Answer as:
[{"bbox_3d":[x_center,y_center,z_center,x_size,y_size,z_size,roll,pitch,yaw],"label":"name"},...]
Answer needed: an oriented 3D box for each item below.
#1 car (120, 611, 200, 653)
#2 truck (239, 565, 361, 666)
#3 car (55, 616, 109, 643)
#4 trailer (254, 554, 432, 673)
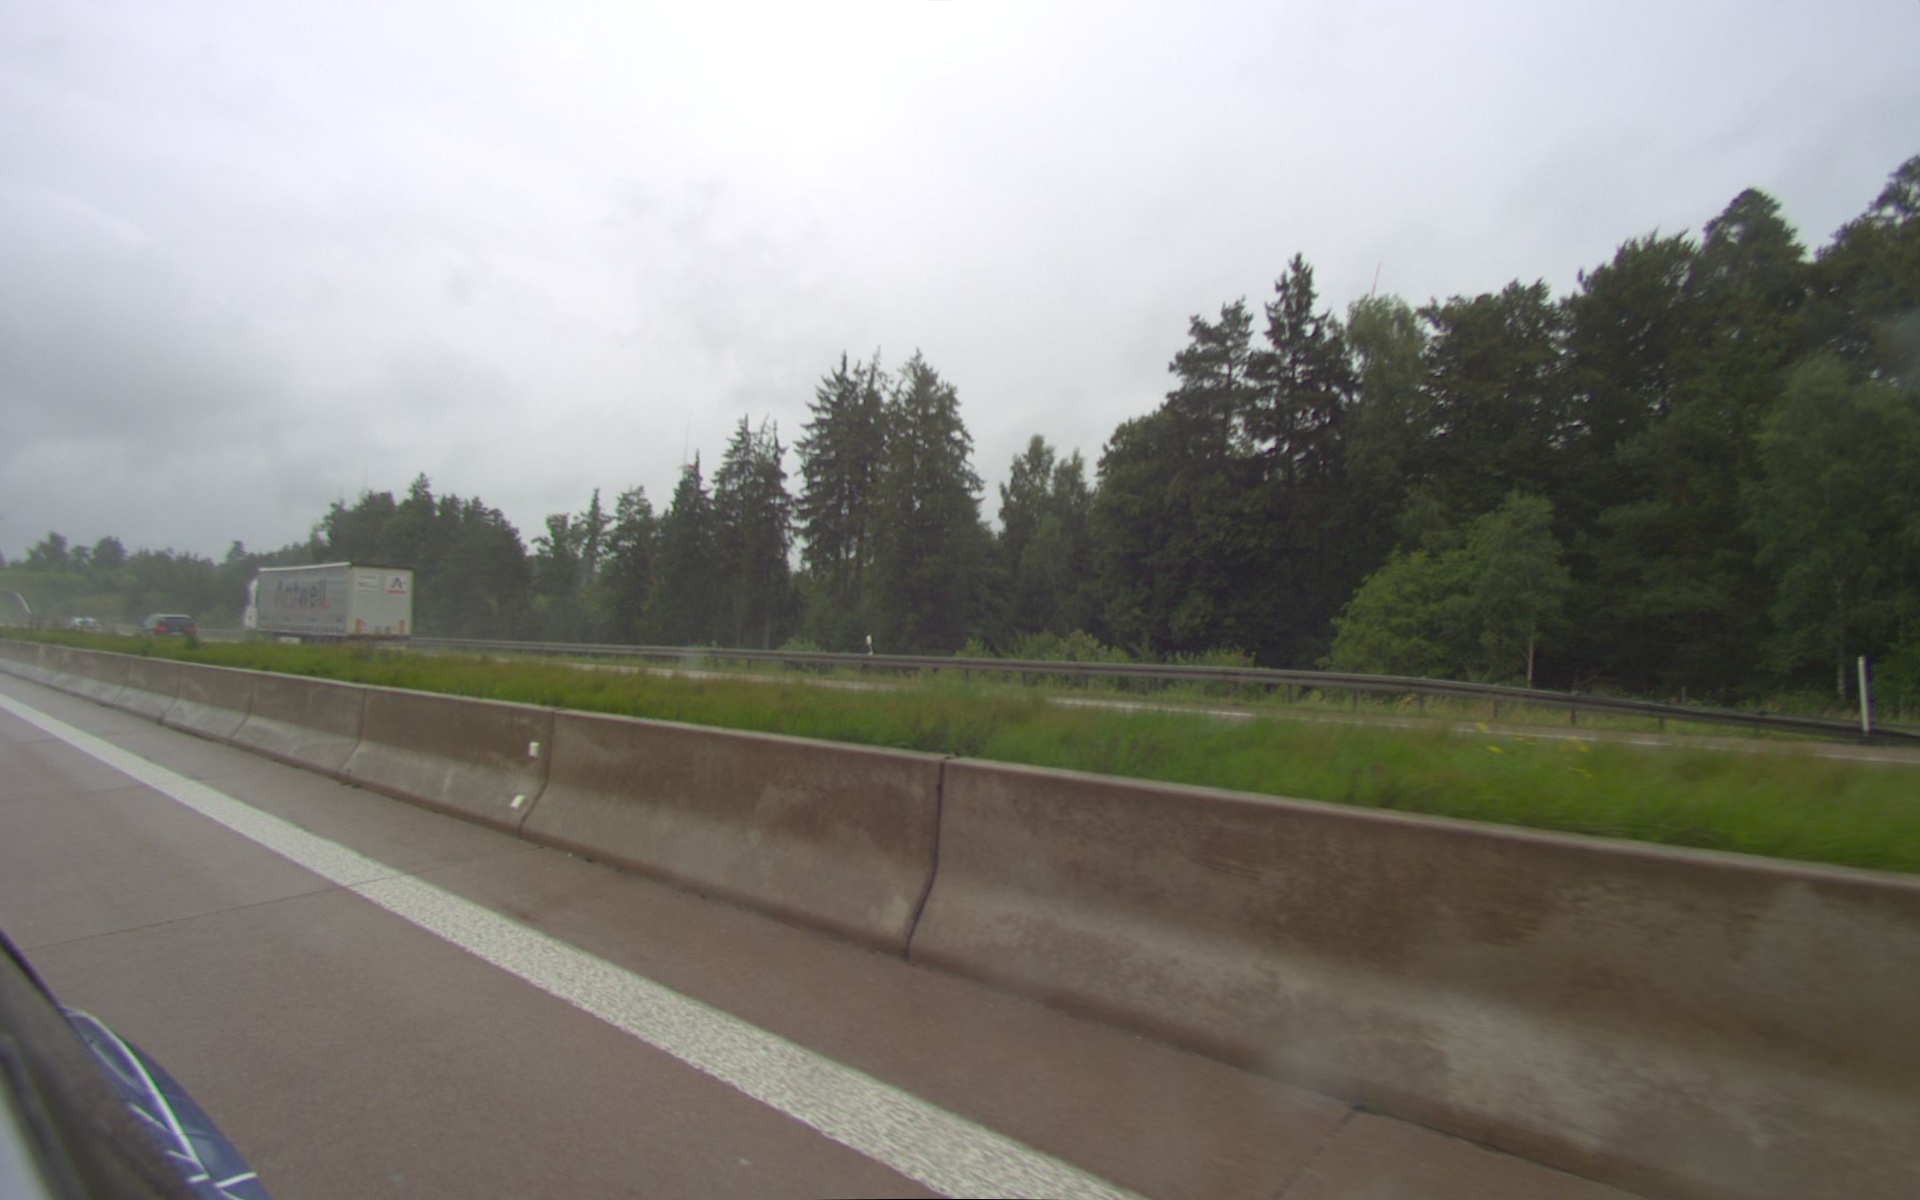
[{"bbox_3d":[-41.292,1.612,52.203,5.148,2.029,2.283,-1,0,41],"label":"car"},{"bbox_3d":[-34.563,0.738,52.915,7.254,4.907,3.640,0,0,42],"label":"truck"},{"bbox_3d":[-67.044,2.220,77.245,5.752,1.993,2.283,-1,0,41],"label":"car"},{"bbox_3d":[-29.930,0.642,48.623,13.681,4.990,3.714,-1,0,43],"label":"trailer"}]
